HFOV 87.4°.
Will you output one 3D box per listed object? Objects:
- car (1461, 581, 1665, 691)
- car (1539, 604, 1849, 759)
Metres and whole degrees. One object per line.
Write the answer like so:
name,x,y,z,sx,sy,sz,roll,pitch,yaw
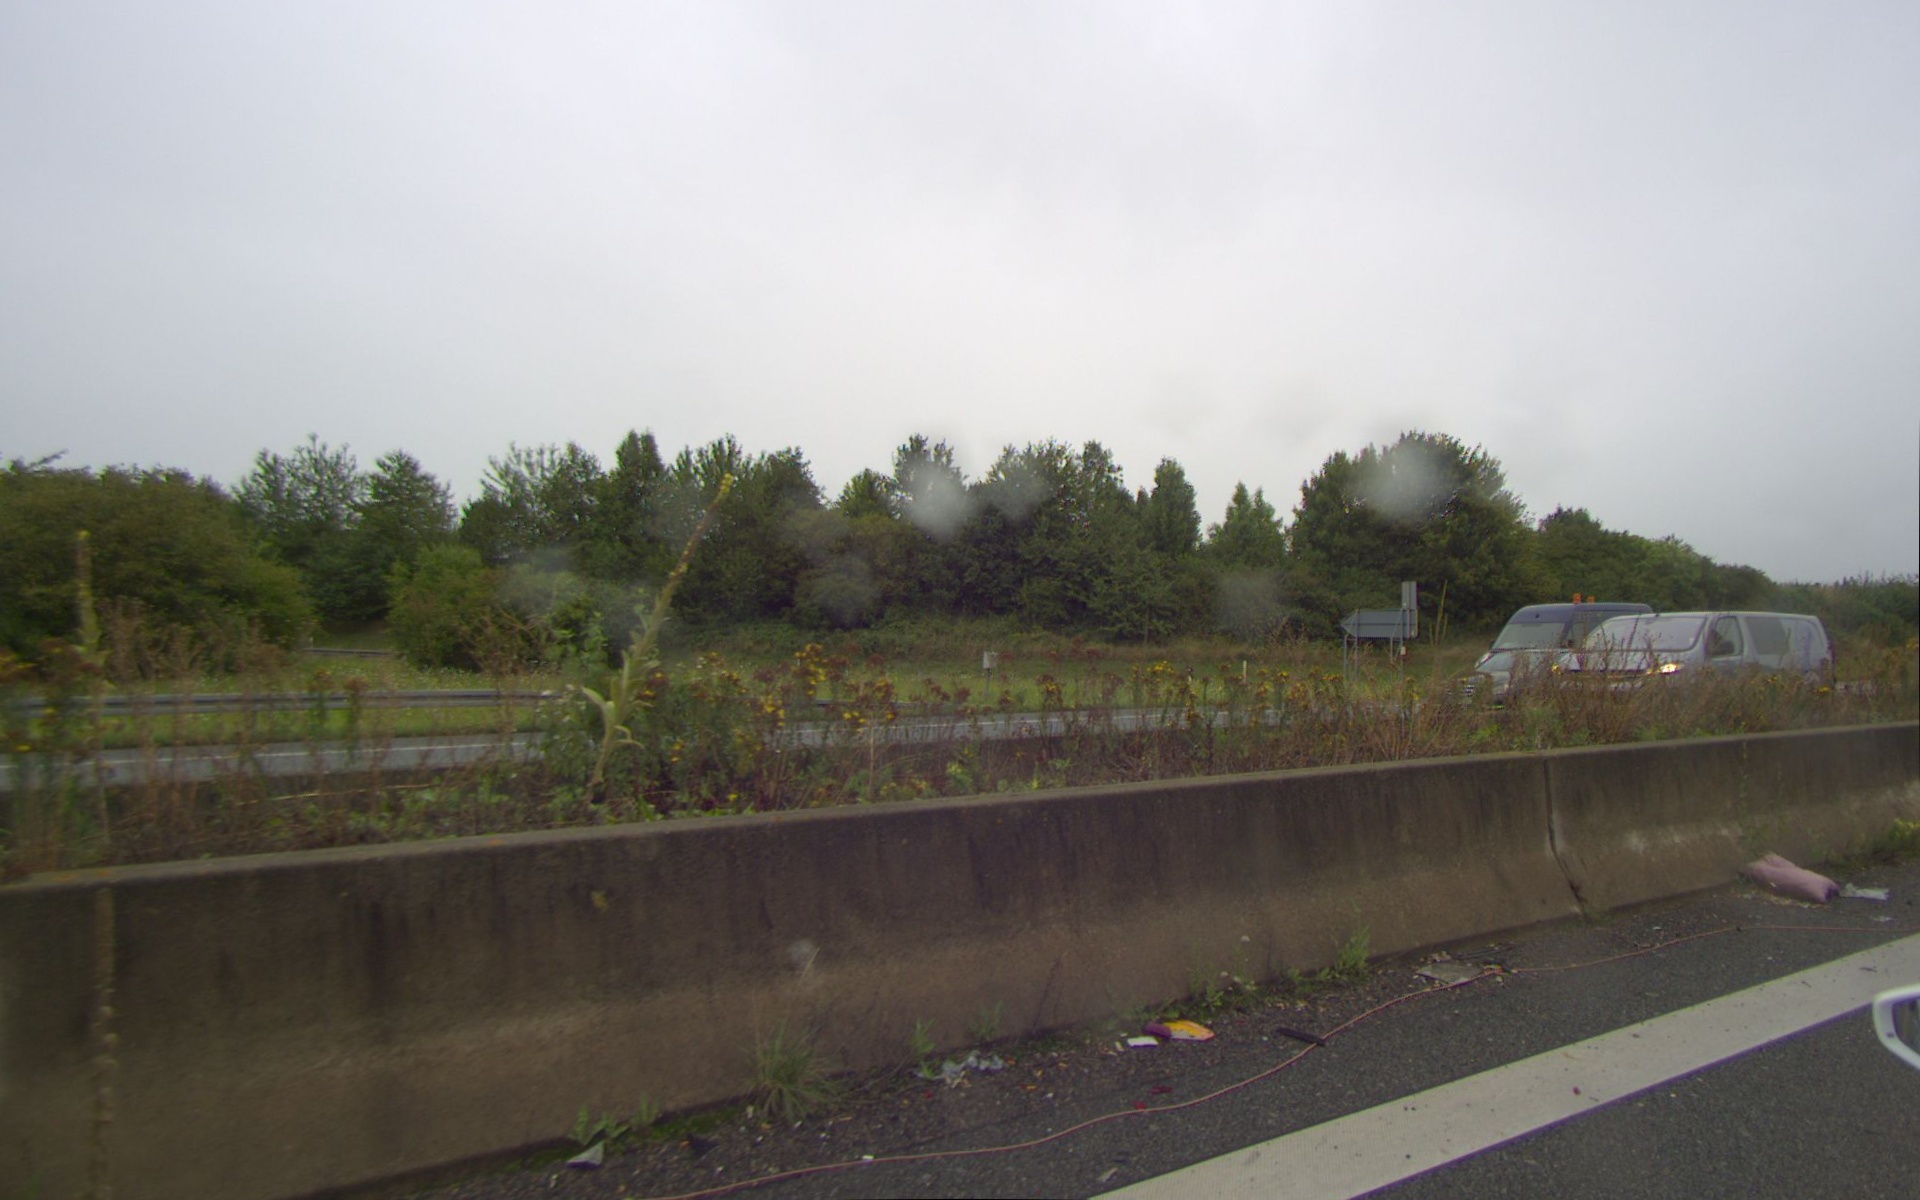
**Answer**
car,15.972,0.952,26.520,5.778,2.644,2.041,2,0,-30
car,11.276,1.154,15.328,5.189,2.040,1.760,2,0,-29
